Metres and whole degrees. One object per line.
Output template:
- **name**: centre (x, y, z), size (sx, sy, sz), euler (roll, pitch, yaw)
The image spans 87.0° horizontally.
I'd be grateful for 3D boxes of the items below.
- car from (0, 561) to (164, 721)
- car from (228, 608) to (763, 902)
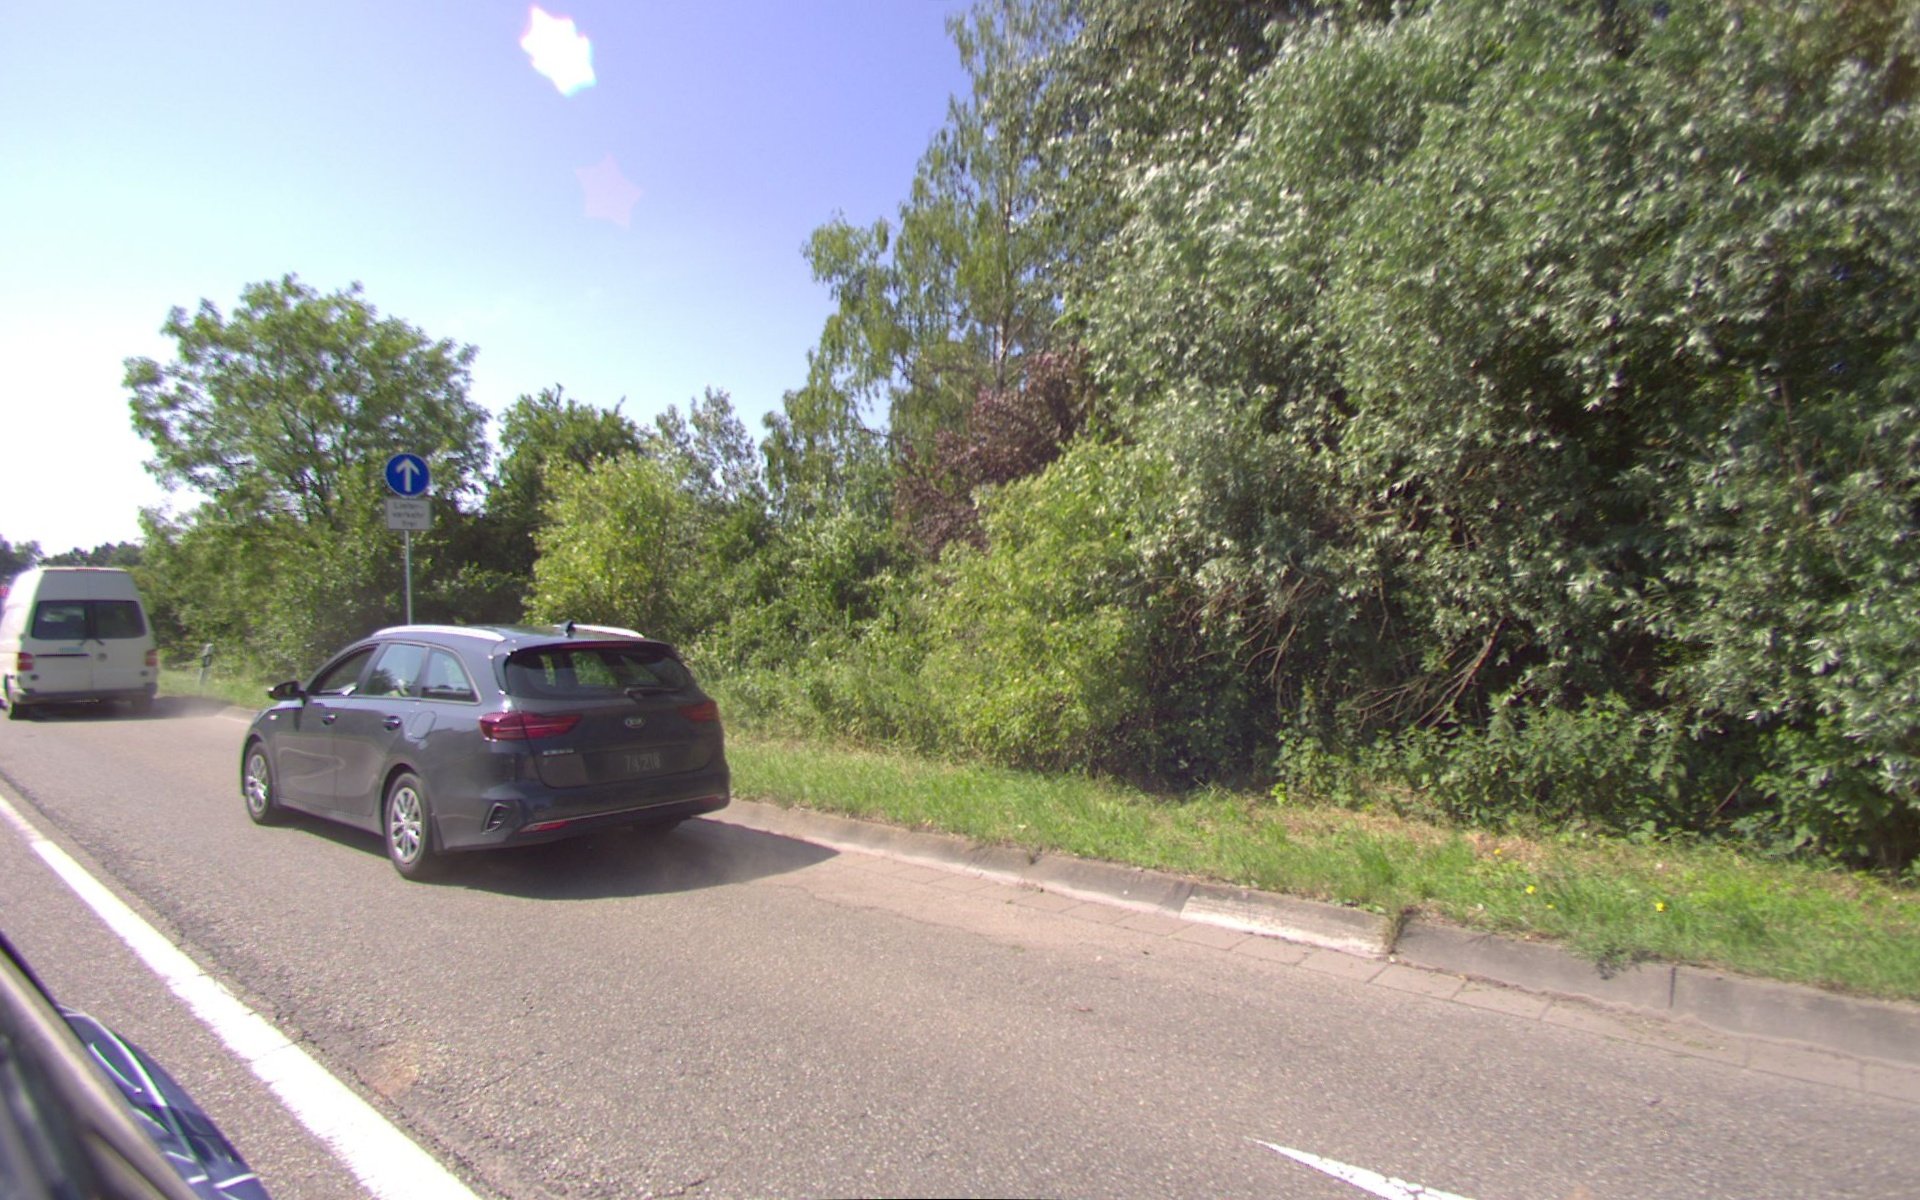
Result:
- **car**: centre (-15.680, 0.689, 17.618), size (4.907, 2.418, 1.892), euler (-1, -2, 40)
- **car**: centre (-3.361, 0.804, 6.898), size (4.291, 1.400, 1.681), euler (-2, -2, 41)
